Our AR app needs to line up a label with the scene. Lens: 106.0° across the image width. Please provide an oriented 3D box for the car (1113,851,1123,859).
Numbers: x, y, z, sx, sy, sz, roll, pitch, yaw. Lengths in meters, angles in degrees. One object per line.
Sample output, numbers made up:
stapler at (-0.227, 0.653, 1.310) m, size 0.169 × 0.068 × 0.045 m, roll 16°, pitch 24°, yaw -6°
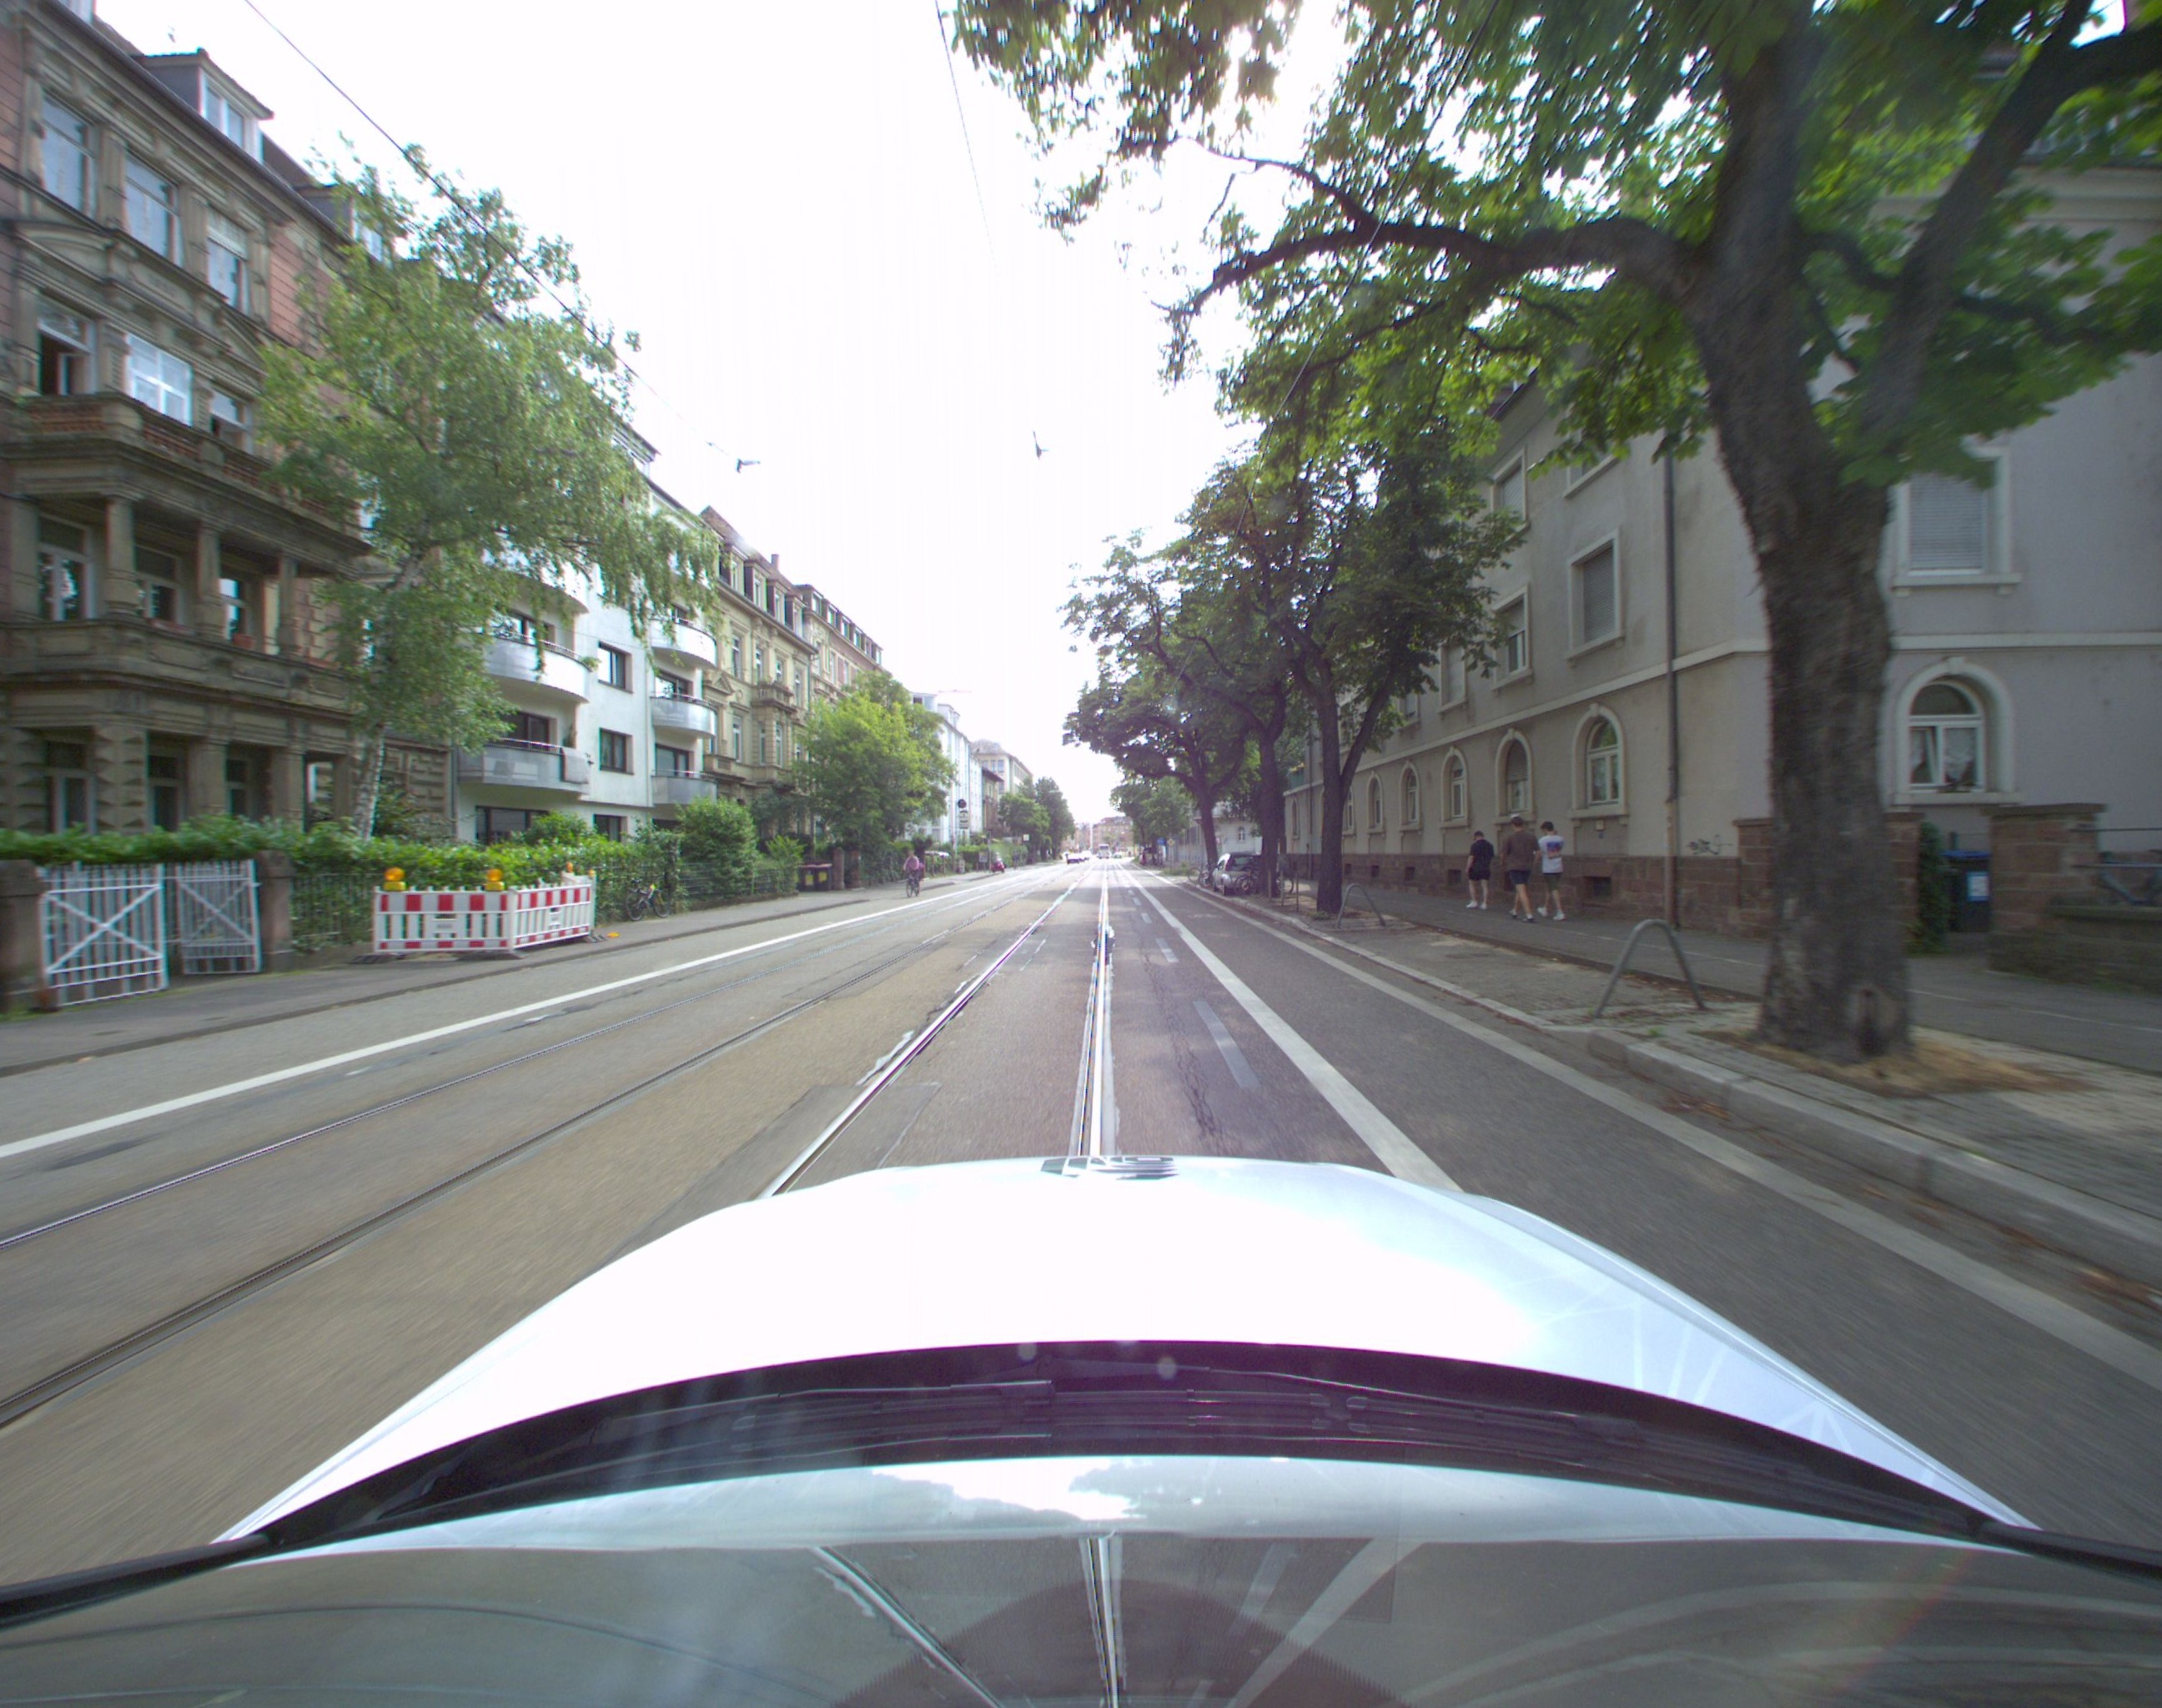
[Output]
car at (8.263, 0.135, 181.718) m, size 2.123 × 1.684 × 4.103 m, roll 0°, pitch 1°, yaw 1°

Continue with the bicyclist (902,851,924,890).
bicyclist at (-6.383, 0.618, 30.971) m, size 0.562 × 1.425 × 0.943 m, roll -1°, pitch 0°, yaw 4°

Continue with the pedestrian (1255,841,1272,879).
pedestrian at (8.950, 0.310, 39.914) m, size 0.615 × 1.833 × 1.031 m, roll -1°, pitch 0°, yaw 4°

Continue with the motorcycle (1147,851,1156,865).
motorcycle at (7.095, 0.396, 82.045) m, size 0.854 × 1.321 × 2.447 m, roll -1°, pitch 0°, yaw 3°

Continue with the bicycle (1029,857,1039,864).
bicycle at (-6.529, 0.960, 112.880) m, size 1.138 × 0.909 × 2.990 m, roll 2°, pitch 0°, yaw 2°

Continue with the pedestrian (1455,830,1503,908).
pedestrian at (8.649, 0.324, 17.722) m, size 0.578 × 1.639 × 0.976 m, roll -1°, pitch 0°, yaw 1°

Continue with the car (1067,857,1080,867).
car at (-1.101, 1.144, 117.271) m, size 1.587 × 1.440 × 3.940 m, roll -2°, pitch 0°, yaw 3°

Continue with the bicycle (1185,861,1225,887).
bicycle at (5.148, 0.835, 33.834) m, size 1.639 × 1.070 × 0.349 m, roll -1°, pitch 0°, yaw 4°

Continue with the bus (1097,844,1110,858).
bus at (5.425, -0.680, 195.612) m, size 2.907 × 3.328 × 12.208 m, roll 0°, pitch 0°, yaw 1°

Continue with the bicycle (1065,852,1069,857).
bicycle at (-2.965, 0.118, 177.601) m, size 0.600 × 1.097 × 2.025 m, roll -7°, pitch 0°, yaw 4°

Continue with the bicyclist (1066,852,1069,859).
bicyclist at (-2.945, 0.308, 177.588) m, size 0.596 × 1.492 × 0.883 m, roll -6°, pitch 0°, yaw 4°

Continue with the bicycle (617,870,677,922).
bicycle at (-10.348, 0.987, 19.469) m, size 0.410 × 1.137 × 1.820 m, roll -1°, pitch 0°, yaw 2°

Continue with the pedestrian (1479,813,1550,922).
pedestrian at (7.903, 0.238, 14.883) m, size 0.751 × 1.889 × 0.886 m, roll -2°, pitch 0°, yaw 1°

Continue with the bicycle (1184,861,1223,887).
bicycle at (5.196, 0.838, 34.613) m, size 1.639 × 1.070 × 0.349 m, roll -1°, pitch 0°, yaw 5°

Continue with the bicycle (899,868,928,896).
bicycle at (-6.374, 1.050, 31.001) m, size 0.567 × 0.989 × 1.920 m, roll -1°, pitch 0°, yaw 4°

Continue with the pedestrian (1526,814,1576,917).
pedestrian at (8.641, 0.202, 14.993) m, size 0.502 × 1.852 × 0.687 m, roll -1°, pitch 0°, yaw 1°

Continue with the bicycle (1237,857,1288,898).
bicycle at (5.634, 0.728, 25.320) m, size 1.479 × 1.220 × 0.519 m, roll -1°, pitch -1°, yaw 8°

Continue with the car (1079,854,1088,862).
car at (0.515, 0.779, 154.485) m, size 1.721 × 1.540 × 4.277 m, roll -2°, pitch 0°, yaw 1°

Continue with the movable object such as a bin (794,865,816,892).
movable object such as a bin at (-11.342, 1.005, 33.495) m, size 0.665 × 1.107 × 0.733 m, roll -1°, pitch 0°, yaw -2°

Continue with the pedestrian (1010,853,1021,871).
pedestrian at (-7.087, 0.876, 87.817) m, size 1.055 × 1.917 × 0.830 m, roll -1°, pitch 0°, yaw 3°

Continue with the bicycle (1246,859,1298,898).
bicycle at (5.785, 0.740, 24.744) m, size 1.479 × 1.153 × 0.519 m, roll -1°, pitch 0°, yaw 8°

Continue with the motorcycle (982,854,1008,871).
motorcycle at (-7.344, 0.718, 69.648) m, size 2.064 × 1.360 × 0.745 m, roll -1°, pitch 0°, yaw 20°

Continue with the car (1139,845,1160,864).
car at (7.396, 0.035, 88.123) m, size 1.888 × 1.941 × 4.952 m, roll -1°, pitch 0°, yaw 2°

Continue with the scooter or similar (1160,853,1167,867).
scooter or similar at (7.707, 0.544, 75.855) m, size 0.530 × 1.251 × 1.721 m, roll -2°, pitch 0°, yaw 3°

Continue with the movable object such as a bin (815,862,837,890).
movable object such as a bin at (-10.462, 0.900, 33.423) m, size 0.665 × 1.107 × 0.733 m, roll -1°, pitch 0°, yaw -2°

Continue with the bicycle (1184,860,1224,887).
bicycle at (5.159, 0.818, 34.193) m, size 1.639 × 1.070 × 0.349 m, roll -1°, pitch 0°, yaw 5°

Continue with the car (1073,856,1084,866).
car at (-0.405, 1.130, 133.071) m, size 1.622 × 1.407 × 4.131 m, roll -1°, pitch 0°, yaw 2°

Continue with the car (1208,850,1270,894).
car at (5.661, 0.606, 29.497) m, size 1.579 × 1.445 × 3.899 m, roll -1°, pitch 0°, yaw 2°

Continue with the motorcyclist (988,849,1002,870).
motorcyclist at (-7.357, 0.470, 69.649) m, size 0.910 × 1.714 × 0.745 m, roll -1°, pitch 0°, yaw 20°

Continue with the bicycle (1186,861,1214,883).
bicycle at (5.700, 0.858, 39.122) m, size 1.263 × 1.066 × 0.478 m, roll -1°, pitch 0°, yaw 0°
